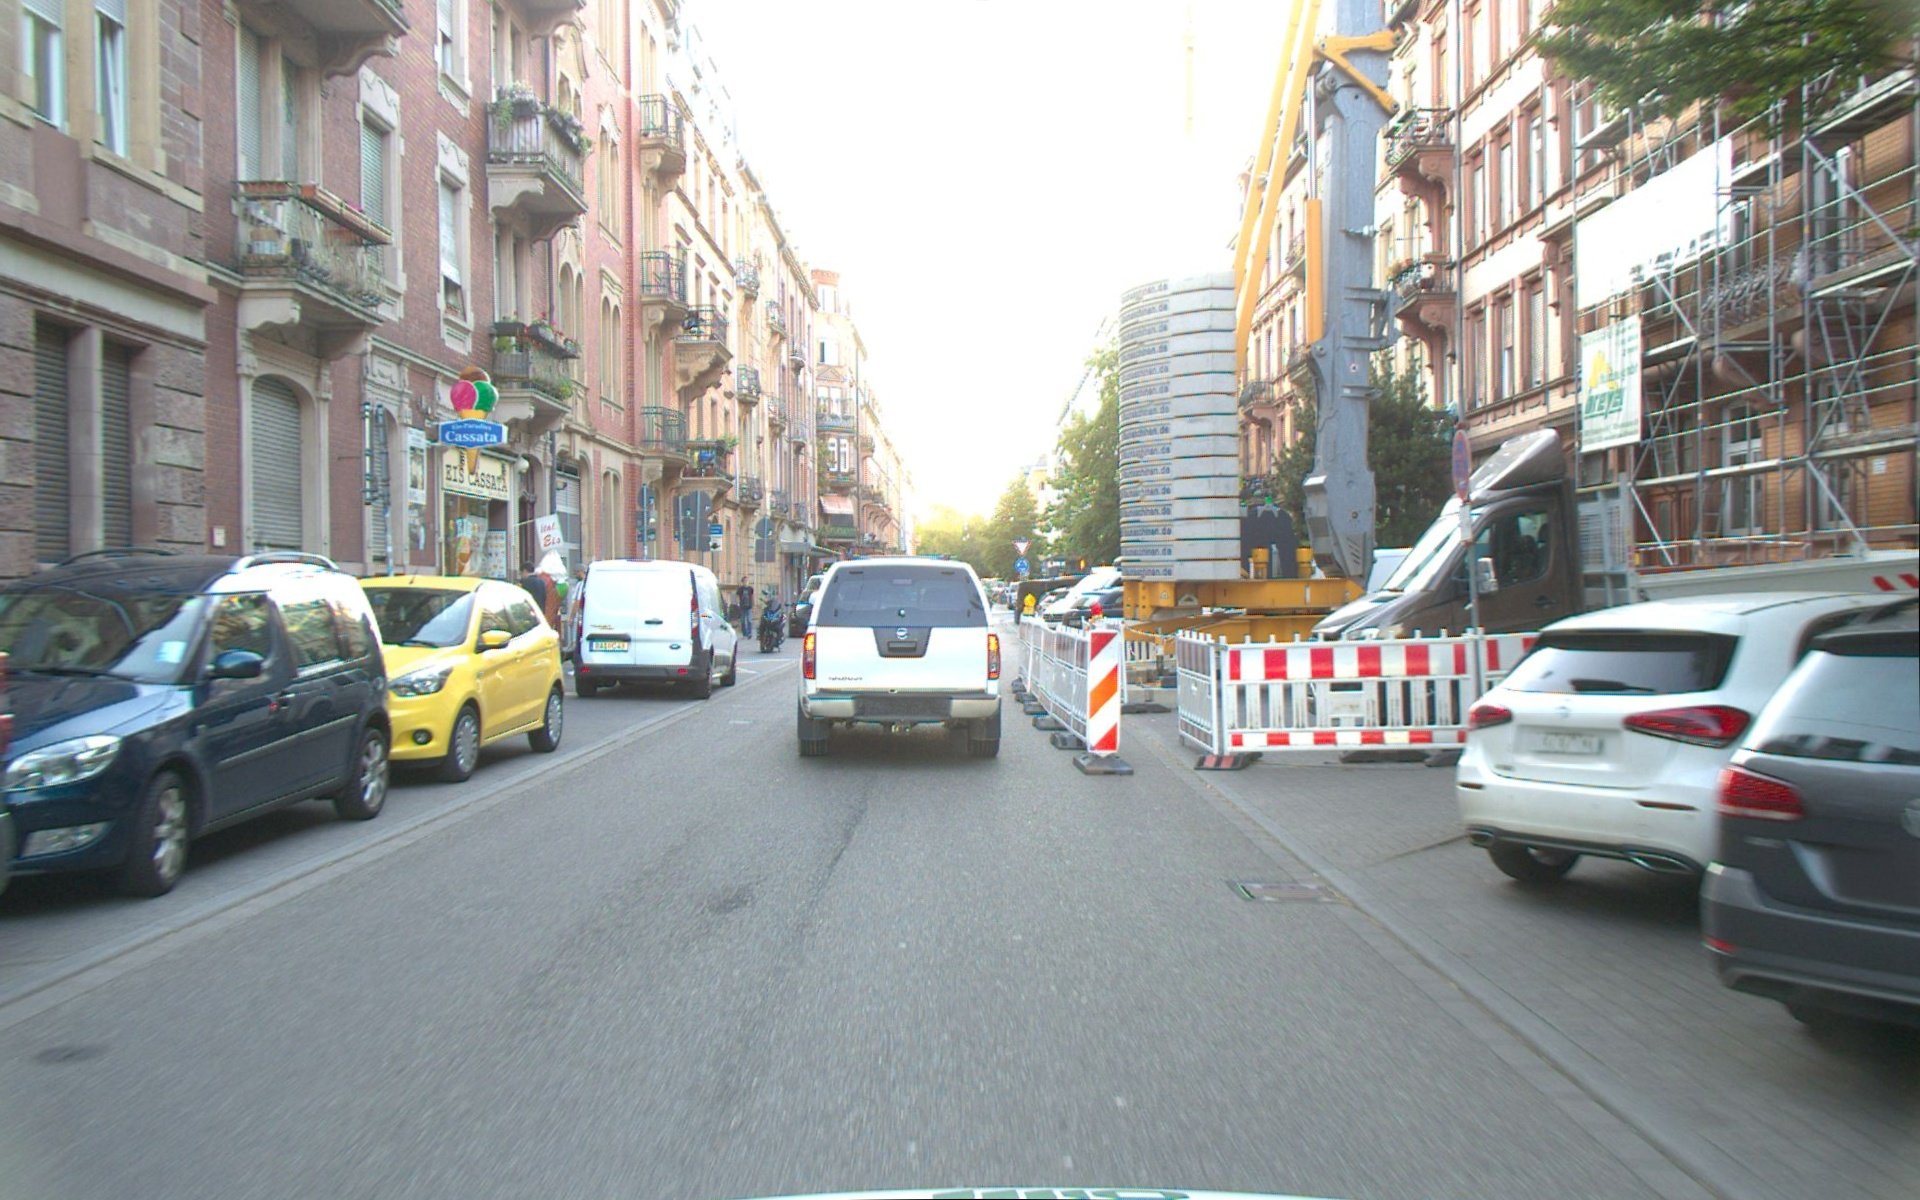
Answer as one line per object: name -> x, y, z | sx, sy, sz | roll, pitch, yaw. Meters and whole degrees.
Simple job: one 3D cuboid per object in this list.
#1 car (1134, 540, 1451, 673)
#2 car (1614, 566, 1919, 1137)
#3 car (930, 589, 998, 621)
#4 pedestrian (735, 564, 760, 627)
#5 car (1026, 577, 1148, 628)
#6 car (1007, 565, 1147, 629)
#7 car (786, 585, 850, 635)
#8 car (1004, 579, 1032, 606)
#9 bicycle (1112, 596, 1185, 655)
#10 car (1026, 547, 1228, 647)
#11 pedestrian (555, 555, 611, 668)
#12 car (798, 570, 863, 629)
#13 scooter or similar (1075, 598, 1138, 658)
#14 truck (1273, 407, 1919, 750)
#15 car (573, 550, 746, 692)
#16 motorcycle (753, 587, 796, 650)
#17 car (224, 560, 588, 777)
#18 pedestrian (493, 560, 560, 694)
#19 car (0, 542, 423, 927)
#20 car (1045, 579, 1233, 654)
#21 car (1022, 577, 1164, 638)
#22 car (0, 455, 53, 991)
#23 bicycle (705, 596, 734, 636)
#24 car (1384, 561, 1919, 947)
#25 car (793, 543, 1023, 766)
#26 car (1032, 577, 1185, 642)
car -> 5.705, 0.087, 28.773 | 5.068, 1.989, 1.899 | -3, 1, -1
car -> 4.255, 0.612, 5.694 | 4.125, 1.514, 1.808 | -3, 1, -36
car -> 0.238, 0.294, 97.687 | 3.680, 1.758, 1.772 | 1, 0, 11
pedestrian -> -6.297, -0.130, 49.042 | 0.668, 1.842, 0.960 | 1, -1, -5
car -> 4.547, 0.066, 59.245 | 4.056, 1.578, 1.799 | -4, 1, -32
car -> 4.474, -0.115, 62.583 | 5.383, 2.108, 1.907 | -4, 1, -39
car -> -4.438, 0.289, 52.260 | 1.800, 1.496, 4.171 | 0, 0, -2
car -> 4.327, -0.525, 124.333 | 1.903, 1.967, 3.999 | 1, 0, -1
bicycle -> 3.888, 0.517, 34.171 | 0.490, 1.156, 1.795 | -3, 2, -31
car -> 4.297, -0.106, 42.511 | 4.863, 2.403, 1.983 | -1, 1, -26
pedestrian -> -6.266, 0.193, 27.512 | 0.585, 1.846, 0.721 | 1, -1, 18
car -> -4.499, -0.024, 58.027 | 1.799, 1.955, 4.846 | 0, 0, 1
scooter or similar -> 3.010, 0.567, 34.074 | 0.646, 1.170, 1.473 | -2, 1, -23
truck -> 6.554, -0.208, 16.767 | 6.345, 3.130, 2.525 | 1, 0, 3
car -> -4.186, 0.282, 23.701 | 1.734, 1.820, 4.586 | 1, 0, -2
motorcycle -> -4.320, 0.420, 38.649 | 0.670, 1.429, 2.015 | 1, 0, 3
car -> -4.425, 0.480, 13.815 | 1.670, 1.557, 3.793 | 0, 0, 2
pedestrian -> -5.800, 0.357, 22.150 | 0.607, 1.760, 0.584 | 1, -1, 28
car -> -4.557, 0.552, 8.988 | 1.887, 1.624, 3.970 | 0, 0, 2
car -> 4.008, 0.334, 36.956 | 3.808, 1.542, 1.833 | -1, 1, -26
car -> 4.101, 0.212, 50.970 | 4.055, 1.618, 1.800 | -4, 1, -31
car -> -4.352, 0.453, 3.793 | 1.888, 1.915, 4.904 | 0, 0, -1
bicycle -> -6.937, 0.467, 47.837 | 0.735, 1.120, 2.023 | 1, 0, -6
car -> 4.221, 0.607, 8.680 | 3.948, 1.514, 1.665 | -3, 1, -34
car -> -0.608, 0.468, 16.329 | 1.900, 1.842, 4.996 | 1, 0, -4
car -> 4.324, 0.238, 48.050 | 4.112, 1.618, 1.866 | -4, 2, -31
